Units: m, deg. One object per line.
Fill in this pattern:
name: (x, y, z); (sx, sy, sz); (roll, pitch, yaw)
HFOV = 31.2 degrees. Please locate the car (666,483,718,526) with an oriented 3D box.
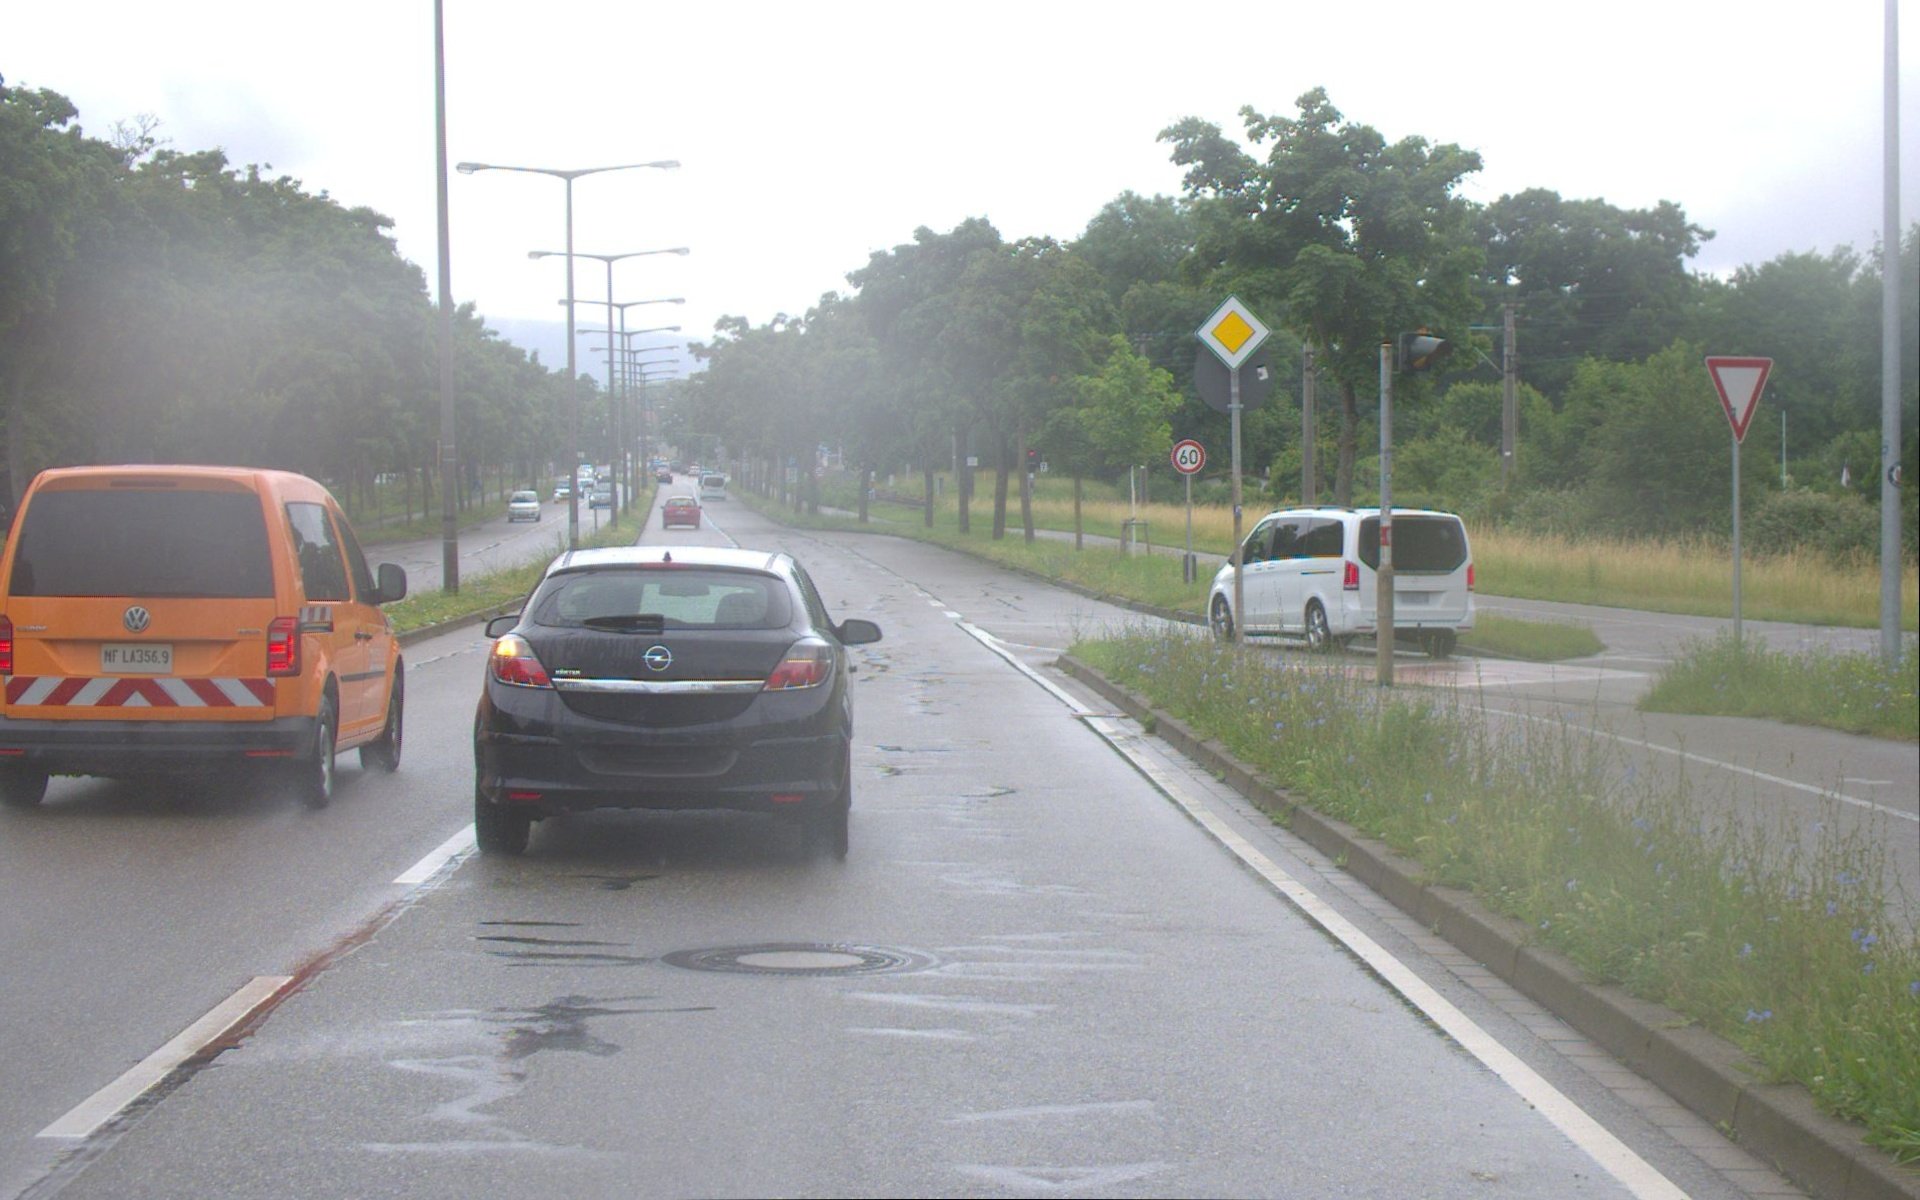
car: (-11.862, -4.208, 152.177); (1.993, 1.873, 4.000); (1, 1, -1)

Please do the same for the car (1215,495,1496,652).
car: (5.157, -0.385, 45.557); (2.058, 1.968, 4.610); (1, 1, -16)

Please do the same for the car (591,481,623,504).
car: (-22.334, -6.788, 217.511); (1.827, 1.445, 3.810); (0, 2, -3)

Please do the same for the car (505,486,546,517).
car: (-22.297, -5.059, 176.332); (1.683, 1.548, 4.001); (1, 1, -2)

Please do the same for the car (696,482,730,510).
car: (-18.597, -7.824, 259.381); (2.515, 2.045, 5.294); (0, 1, -4)

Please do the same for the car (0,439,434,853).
car: (-4.152, 0.164, 19.469); (1.734, 2.012, 4.850); (2, 1, -2)

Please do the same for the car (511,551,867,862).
car: (-1.219, 0.465, 16.701); (1.463, 1.324, 3.758); (1, 0, -1)
